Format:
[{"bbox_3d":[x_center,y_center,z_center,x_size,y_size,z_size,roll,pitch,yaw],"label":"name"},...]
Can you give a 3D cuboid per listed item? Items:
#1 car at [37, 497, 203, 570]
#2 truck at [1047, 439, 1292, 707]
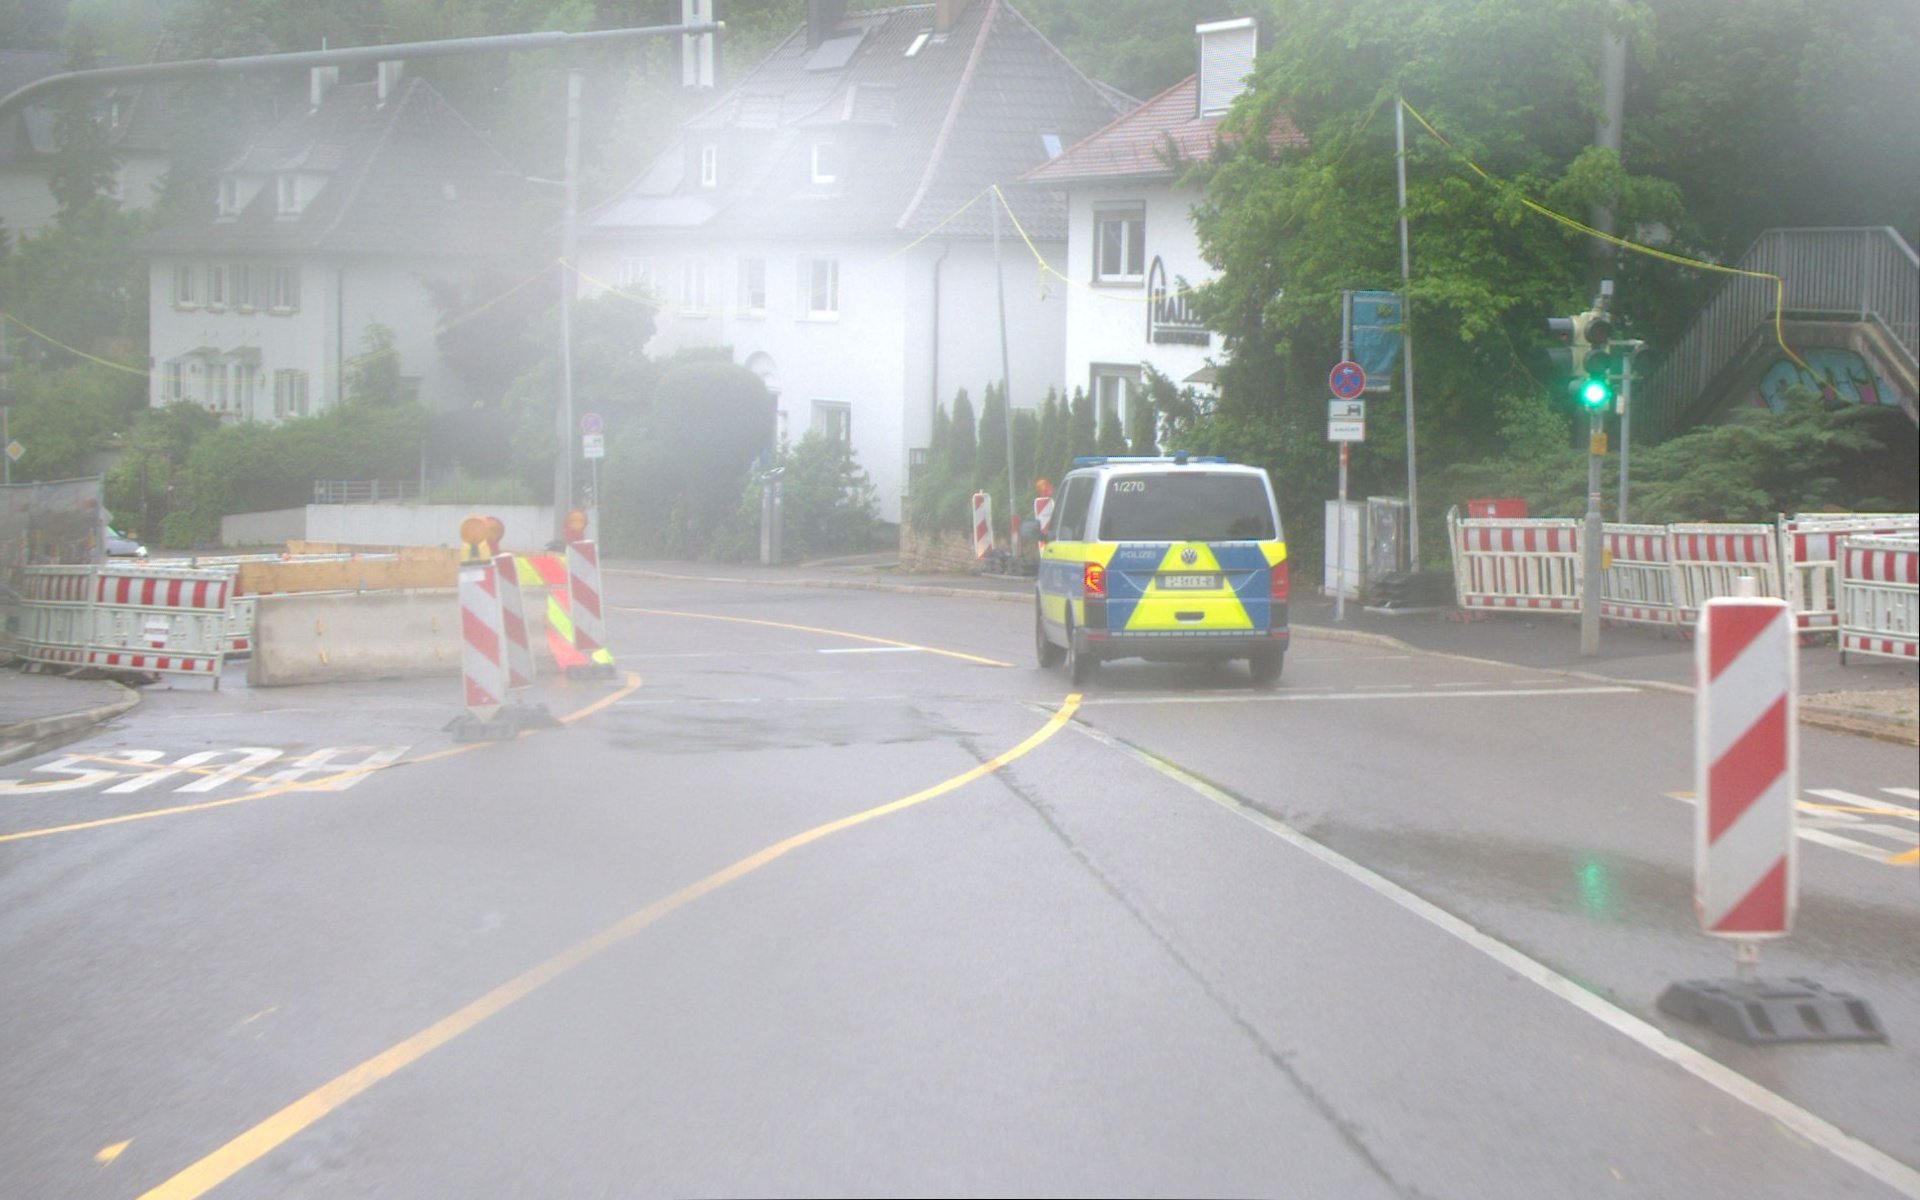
[{"bbox_3d":[-17.161,-1.385,70.097,1.784,1.398,4.365,-2,3,-35],"label":"car"},{"bbox_3d":[1.815,-0.330,31.185,1.993,2.006,4.736,0,6,1],"label":"truck"}]
